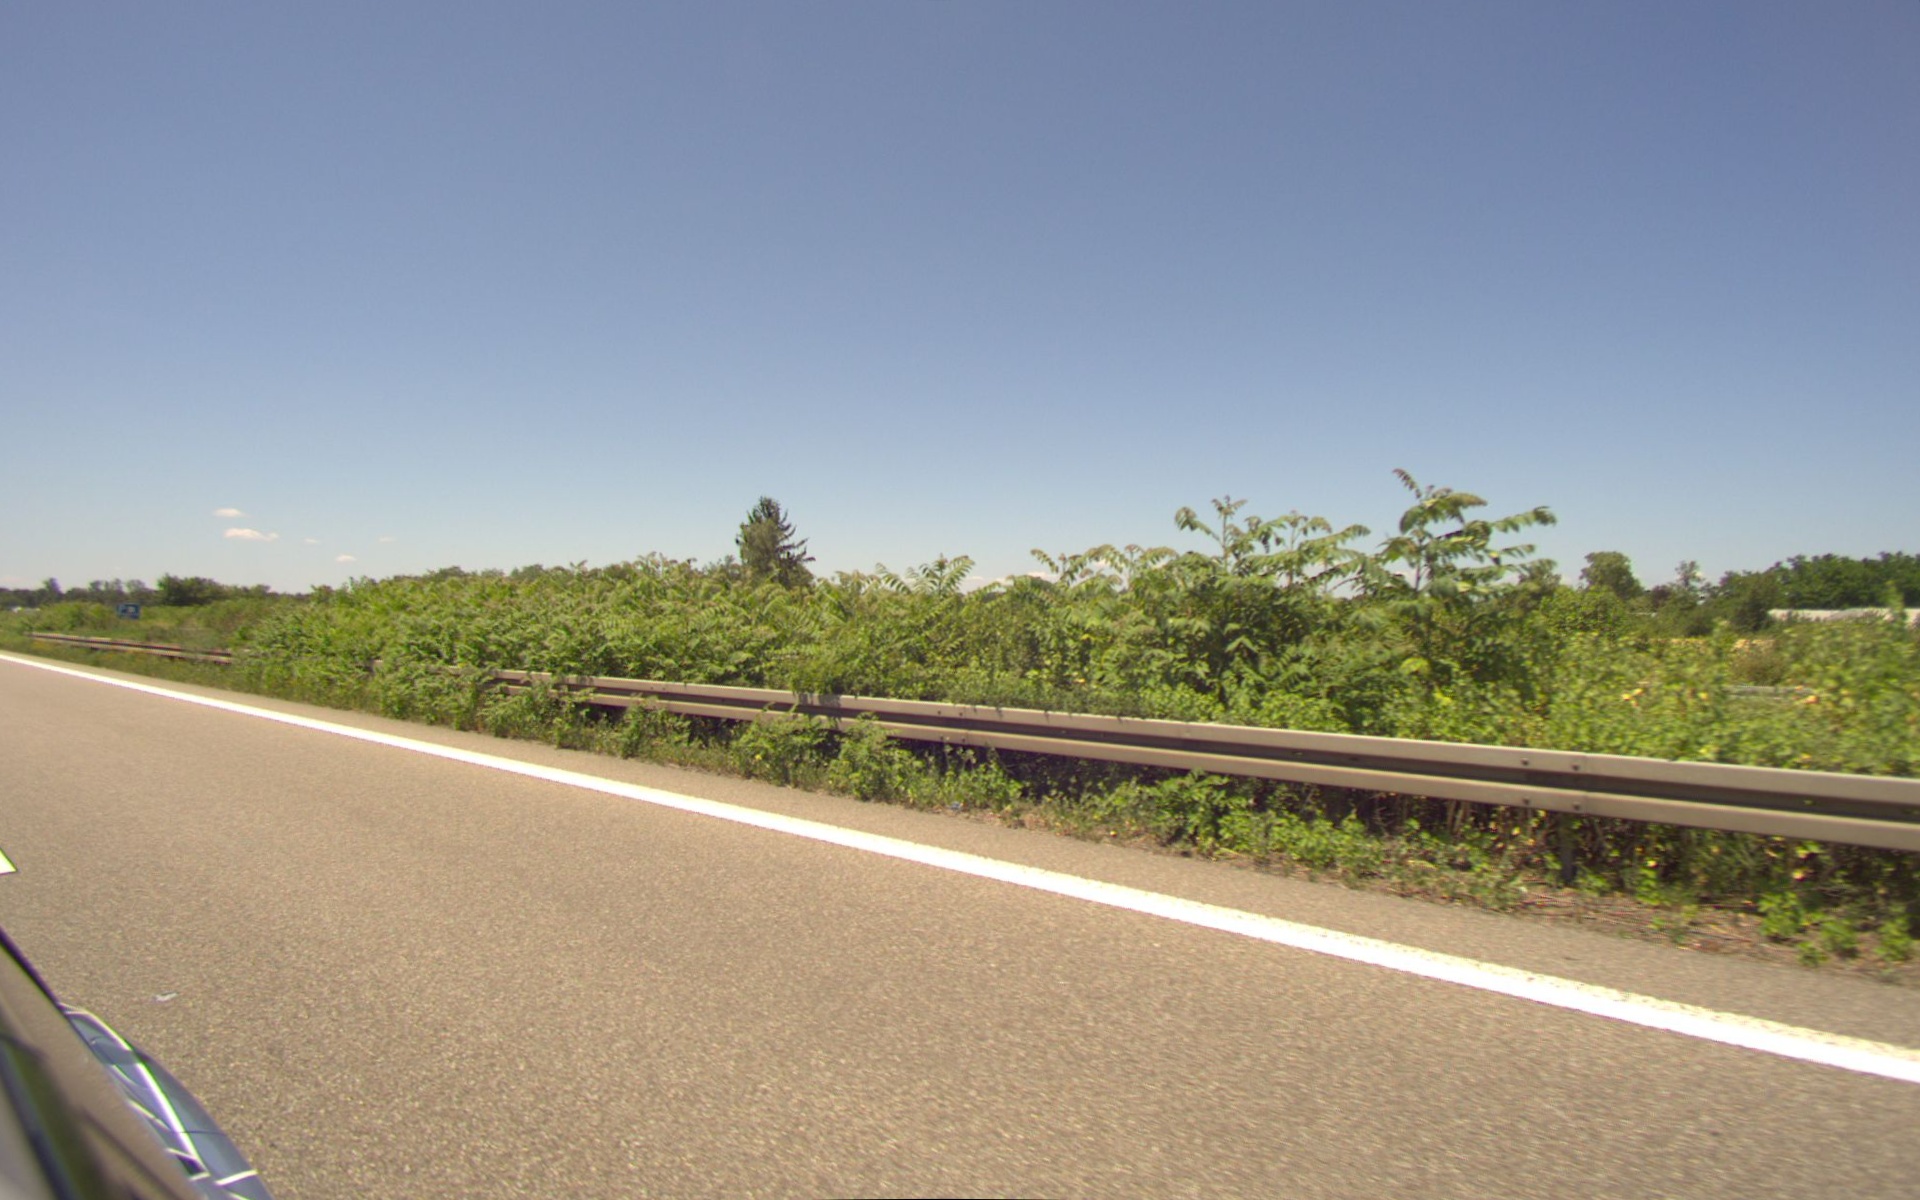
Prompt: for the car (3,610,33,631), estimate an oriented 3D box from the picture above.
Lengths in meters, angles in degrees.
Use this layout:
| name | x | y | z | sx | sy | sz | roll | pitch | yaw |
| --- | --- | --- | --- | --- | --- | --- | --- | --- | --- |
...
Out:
| name | x | y | z | sx | sy | sz | roll | pitch | yaw |
| --- | --- | --- | --- | --- | --- | --- | --- | --- | --- |
| car | -126.731 | 2.711 | 136.151 | 5.516 | 2.729 | 2.445 | -1 | 0 | 41 |
